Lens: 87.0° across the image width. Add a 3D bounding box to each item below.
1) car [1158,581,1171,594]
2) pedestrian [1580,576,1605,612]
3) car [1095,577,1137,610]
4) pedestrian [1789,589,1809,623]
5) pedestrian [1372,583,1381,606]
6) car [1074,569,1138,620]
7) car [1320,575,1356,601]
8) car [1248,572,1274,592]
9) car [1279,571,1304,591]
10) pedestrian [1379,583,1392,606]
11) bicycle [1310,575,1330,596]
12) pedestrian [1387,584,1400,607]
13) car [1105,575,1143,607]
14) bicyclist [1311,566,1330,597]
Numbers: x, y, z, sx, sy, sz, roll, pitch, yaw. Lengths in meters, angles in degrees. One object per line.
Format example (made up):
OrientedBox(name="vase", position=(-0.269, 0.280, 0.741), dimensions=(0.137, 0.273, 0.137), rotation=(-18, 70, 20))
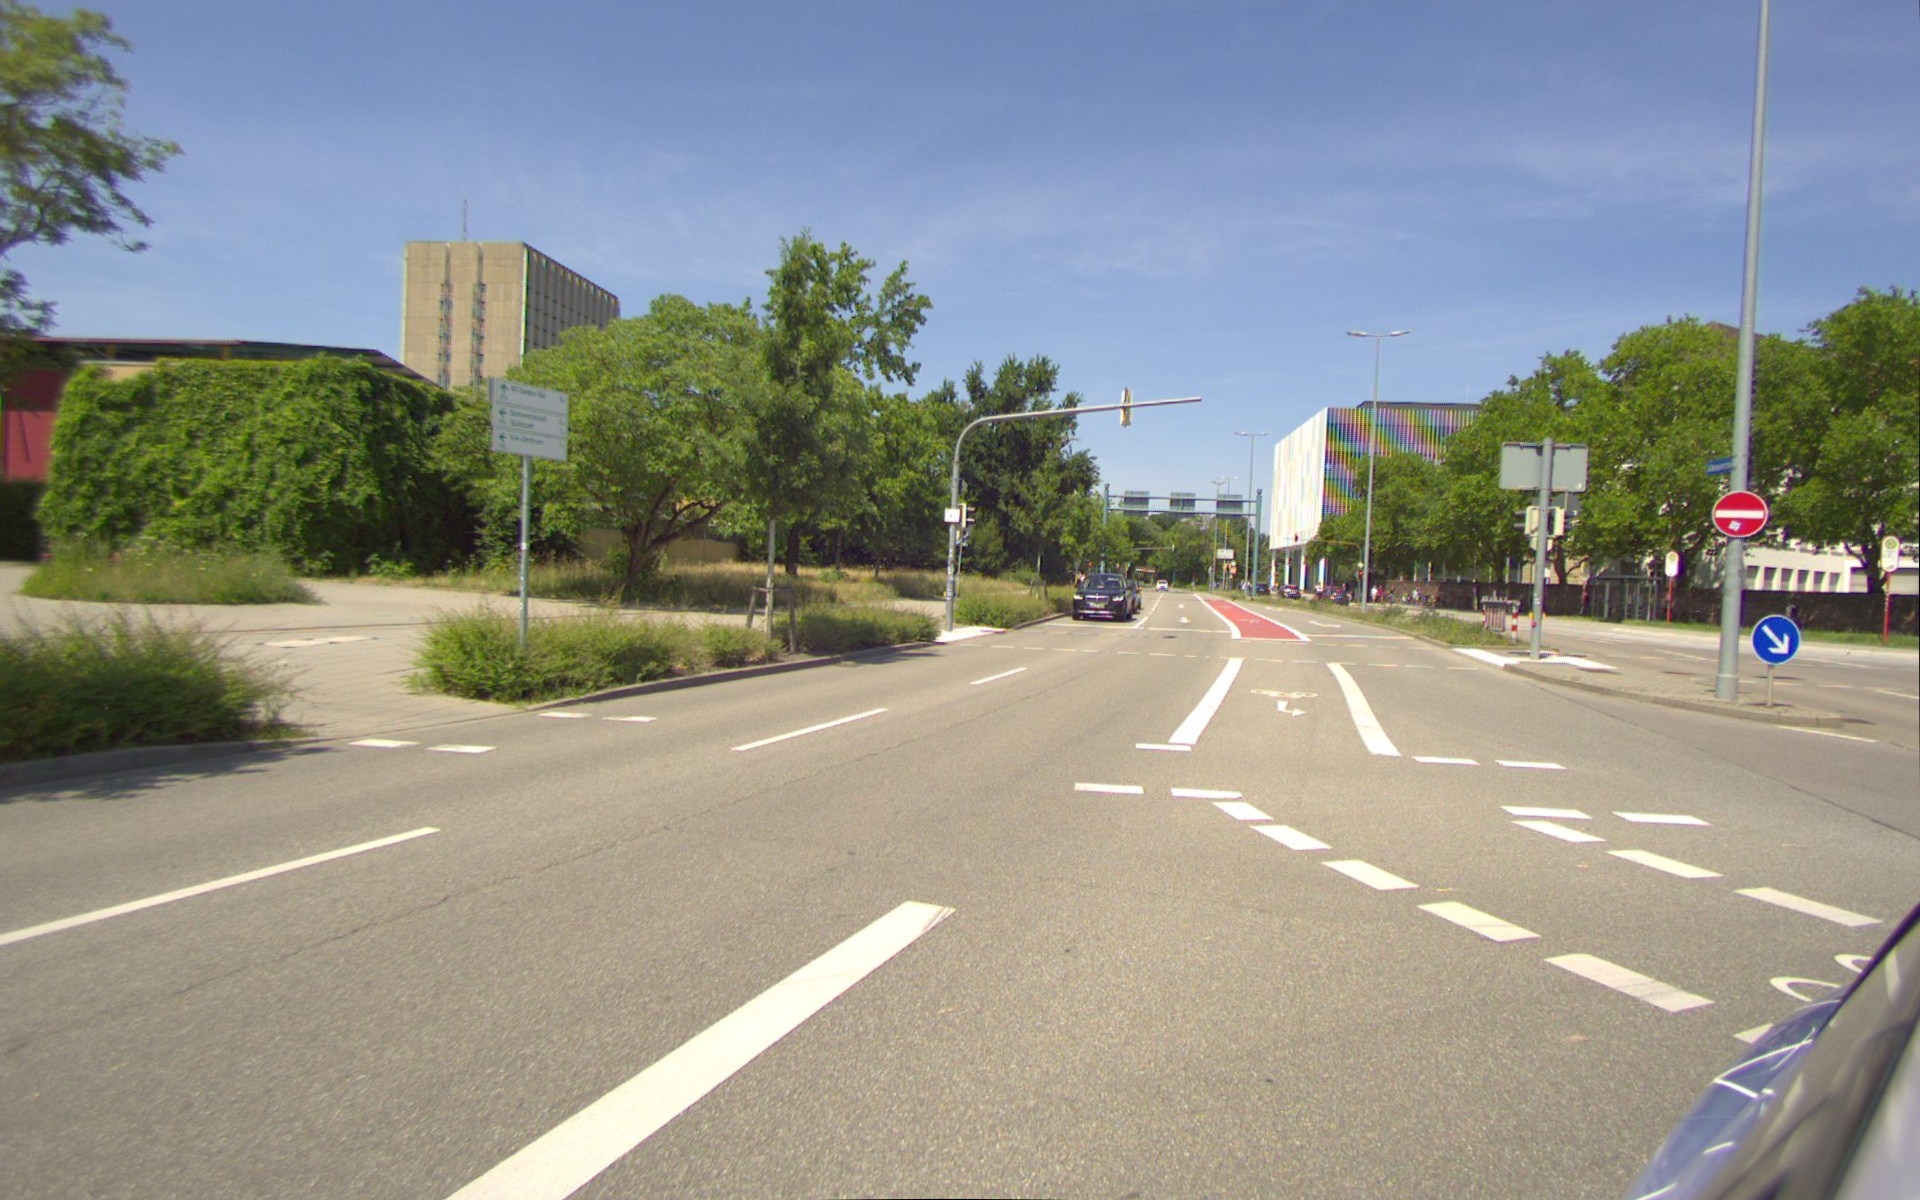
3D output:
OrientedBox(name="car", position=(29.052, -1.781, 143.748), dimensions=(1.709, 1.707, 3.903), rotation=(3, 0, 10))
OrientedBox(name="pedestrian", position=(41.806, -0.367, 66.889), dimensions=(0.832, 2.320, 1.077), rotation=(3, -1, -7))
OrientedBox(name="car", position=(6.900, -0.268, 44.887), dimensions=(1.731, 1.326, 3.990), rotation=(3, 0, 8))
OrientedBox(name="pedestrian", position=(43.981, 0.324, 53.057), dimensions=(0.577, 1.743, 0.528), rotation=(3, -1, -15))
OrientedBox(name="pedestrian", position=(38.314, -0.520, 93.076), dimensions=(0.541, 2.039, 0.534), rotation=(3, -1, 11))
OrientedBox(name="car", position=(5.268, -0.255, 36.129), dimensions=(1.685, 1.606, 4.536), rotation=(3, 2, 15))
OrientedBox(name="car", position=(31.975, -0.996, 85.696), dimensions=(1.968, 2.039, 4.201), rotation=(3, 0, 10))
OrientedBox(name="car", position=(28.243, -1.663, 95.072), dimensions=(1.749, 1.689, 3.990), rotation=(3, 0, 8))
OrientedBox(name="car", position=(30.980, -1.738, 94.753), dimensions=(1.755, 1.705, 3.984), rotation=(3, 0, 12))
OrientedBox(name="pedestrian", position=(39.134, -0.478, 93.103), dimensions=(0.776, 2.039, 0.961), rotation=(3, -1, 10))
OrientedBox(name="bicycle", position=(22.818, -0.923, 64.169), dimensions=(0.511, 1.252, 2.191), rotation=(3, 0, 1))
OrientedBox(name="pedestrian", position=(39.816, -0.443, 92.958), dimensions=(0.776, 2.039, 0.838), rotation=(3, -1, 10))
OrientedBox(name="car", position=(8.312, -0.423, 51.507), dimensions=(1.731, 1.457, 3.990), rotation=(3, 0, 8))
OrientedBox(name="bicyclist", position=(22.850, -1.165, 64.200), dimensions=(0.696, 1.911, 1.138), rotation=(3, -1, 1))
